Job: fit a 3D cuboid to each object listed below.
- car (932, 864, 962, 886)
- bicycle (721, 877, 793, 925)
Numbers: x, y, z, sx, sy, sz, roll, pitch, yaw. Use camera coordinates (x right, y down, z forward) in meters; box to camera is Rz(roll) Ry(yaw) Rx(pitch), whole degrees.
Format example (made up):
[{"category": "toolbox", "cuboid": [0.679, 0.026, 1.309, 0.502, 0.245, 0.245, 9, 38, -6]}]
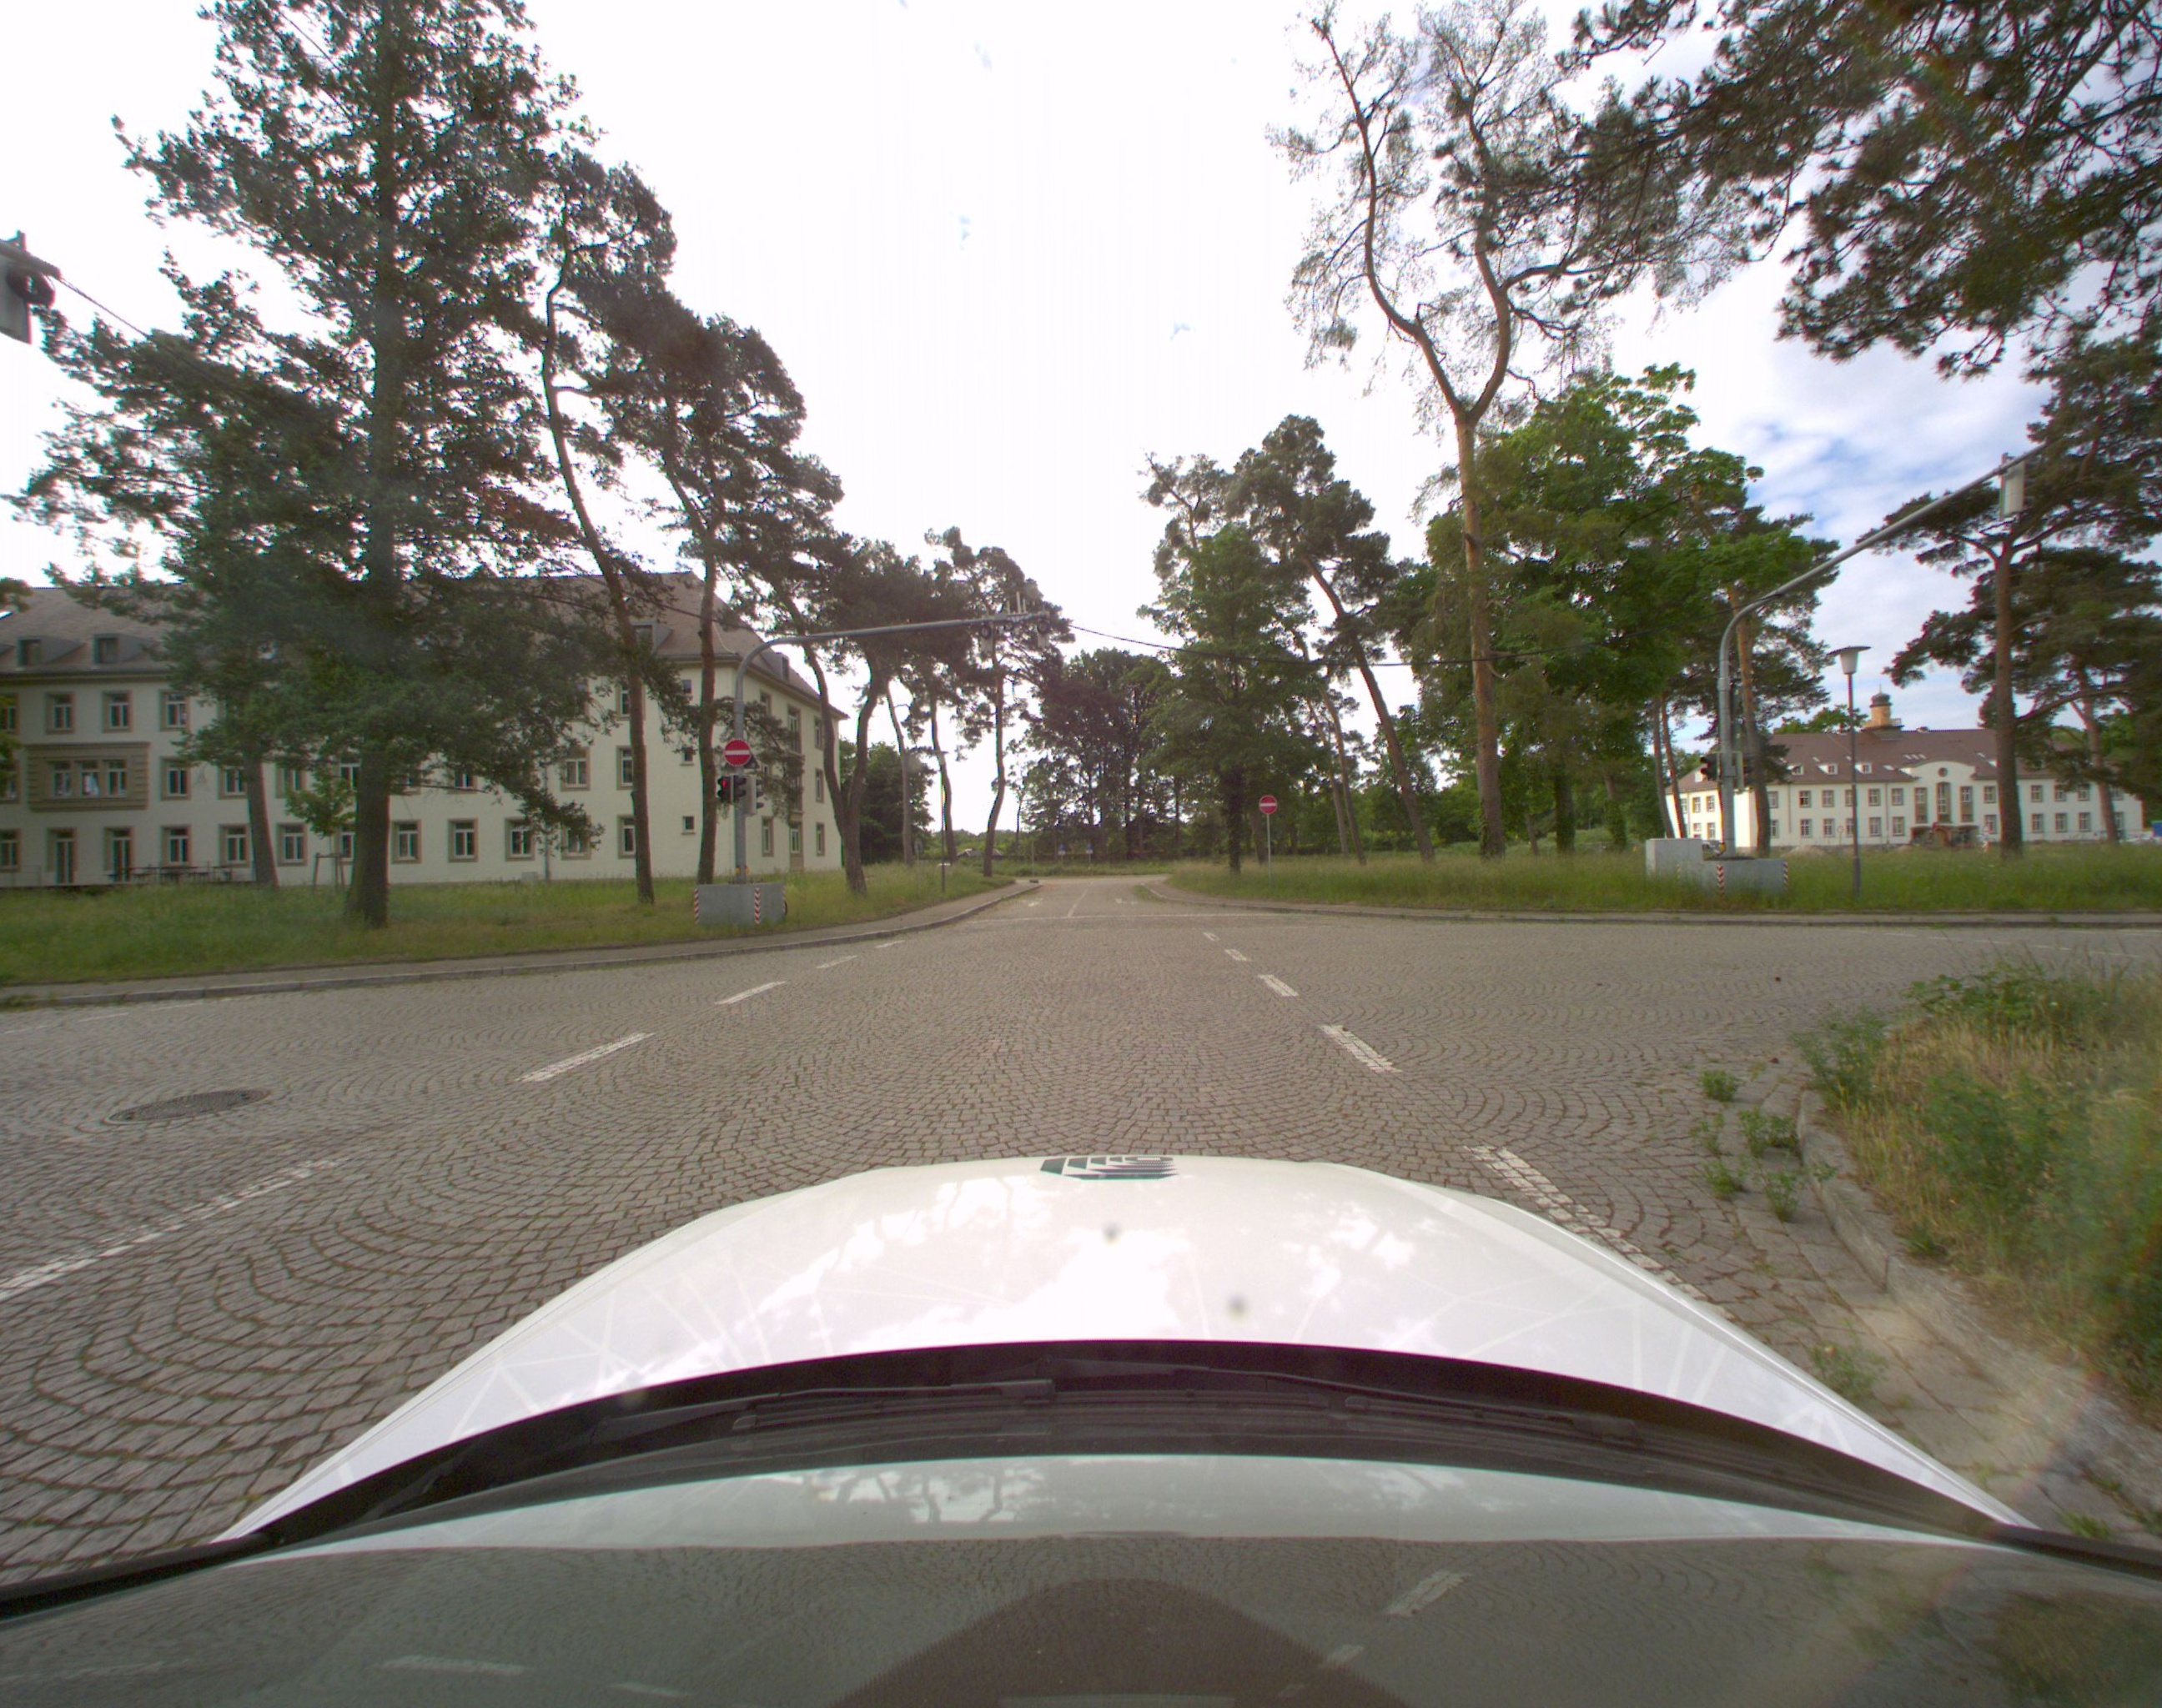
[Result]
[{"category": "car", "cuboid": [-11.399, 1.775, 69.471, 1.988, 1.846, 3.998, 0, -1, -1]}, {"category": "bicycle", "cuboid": [-7.662, 1.108, 19.289, 1.460, 1.065, 0.516, -2, 1, -1]}]
